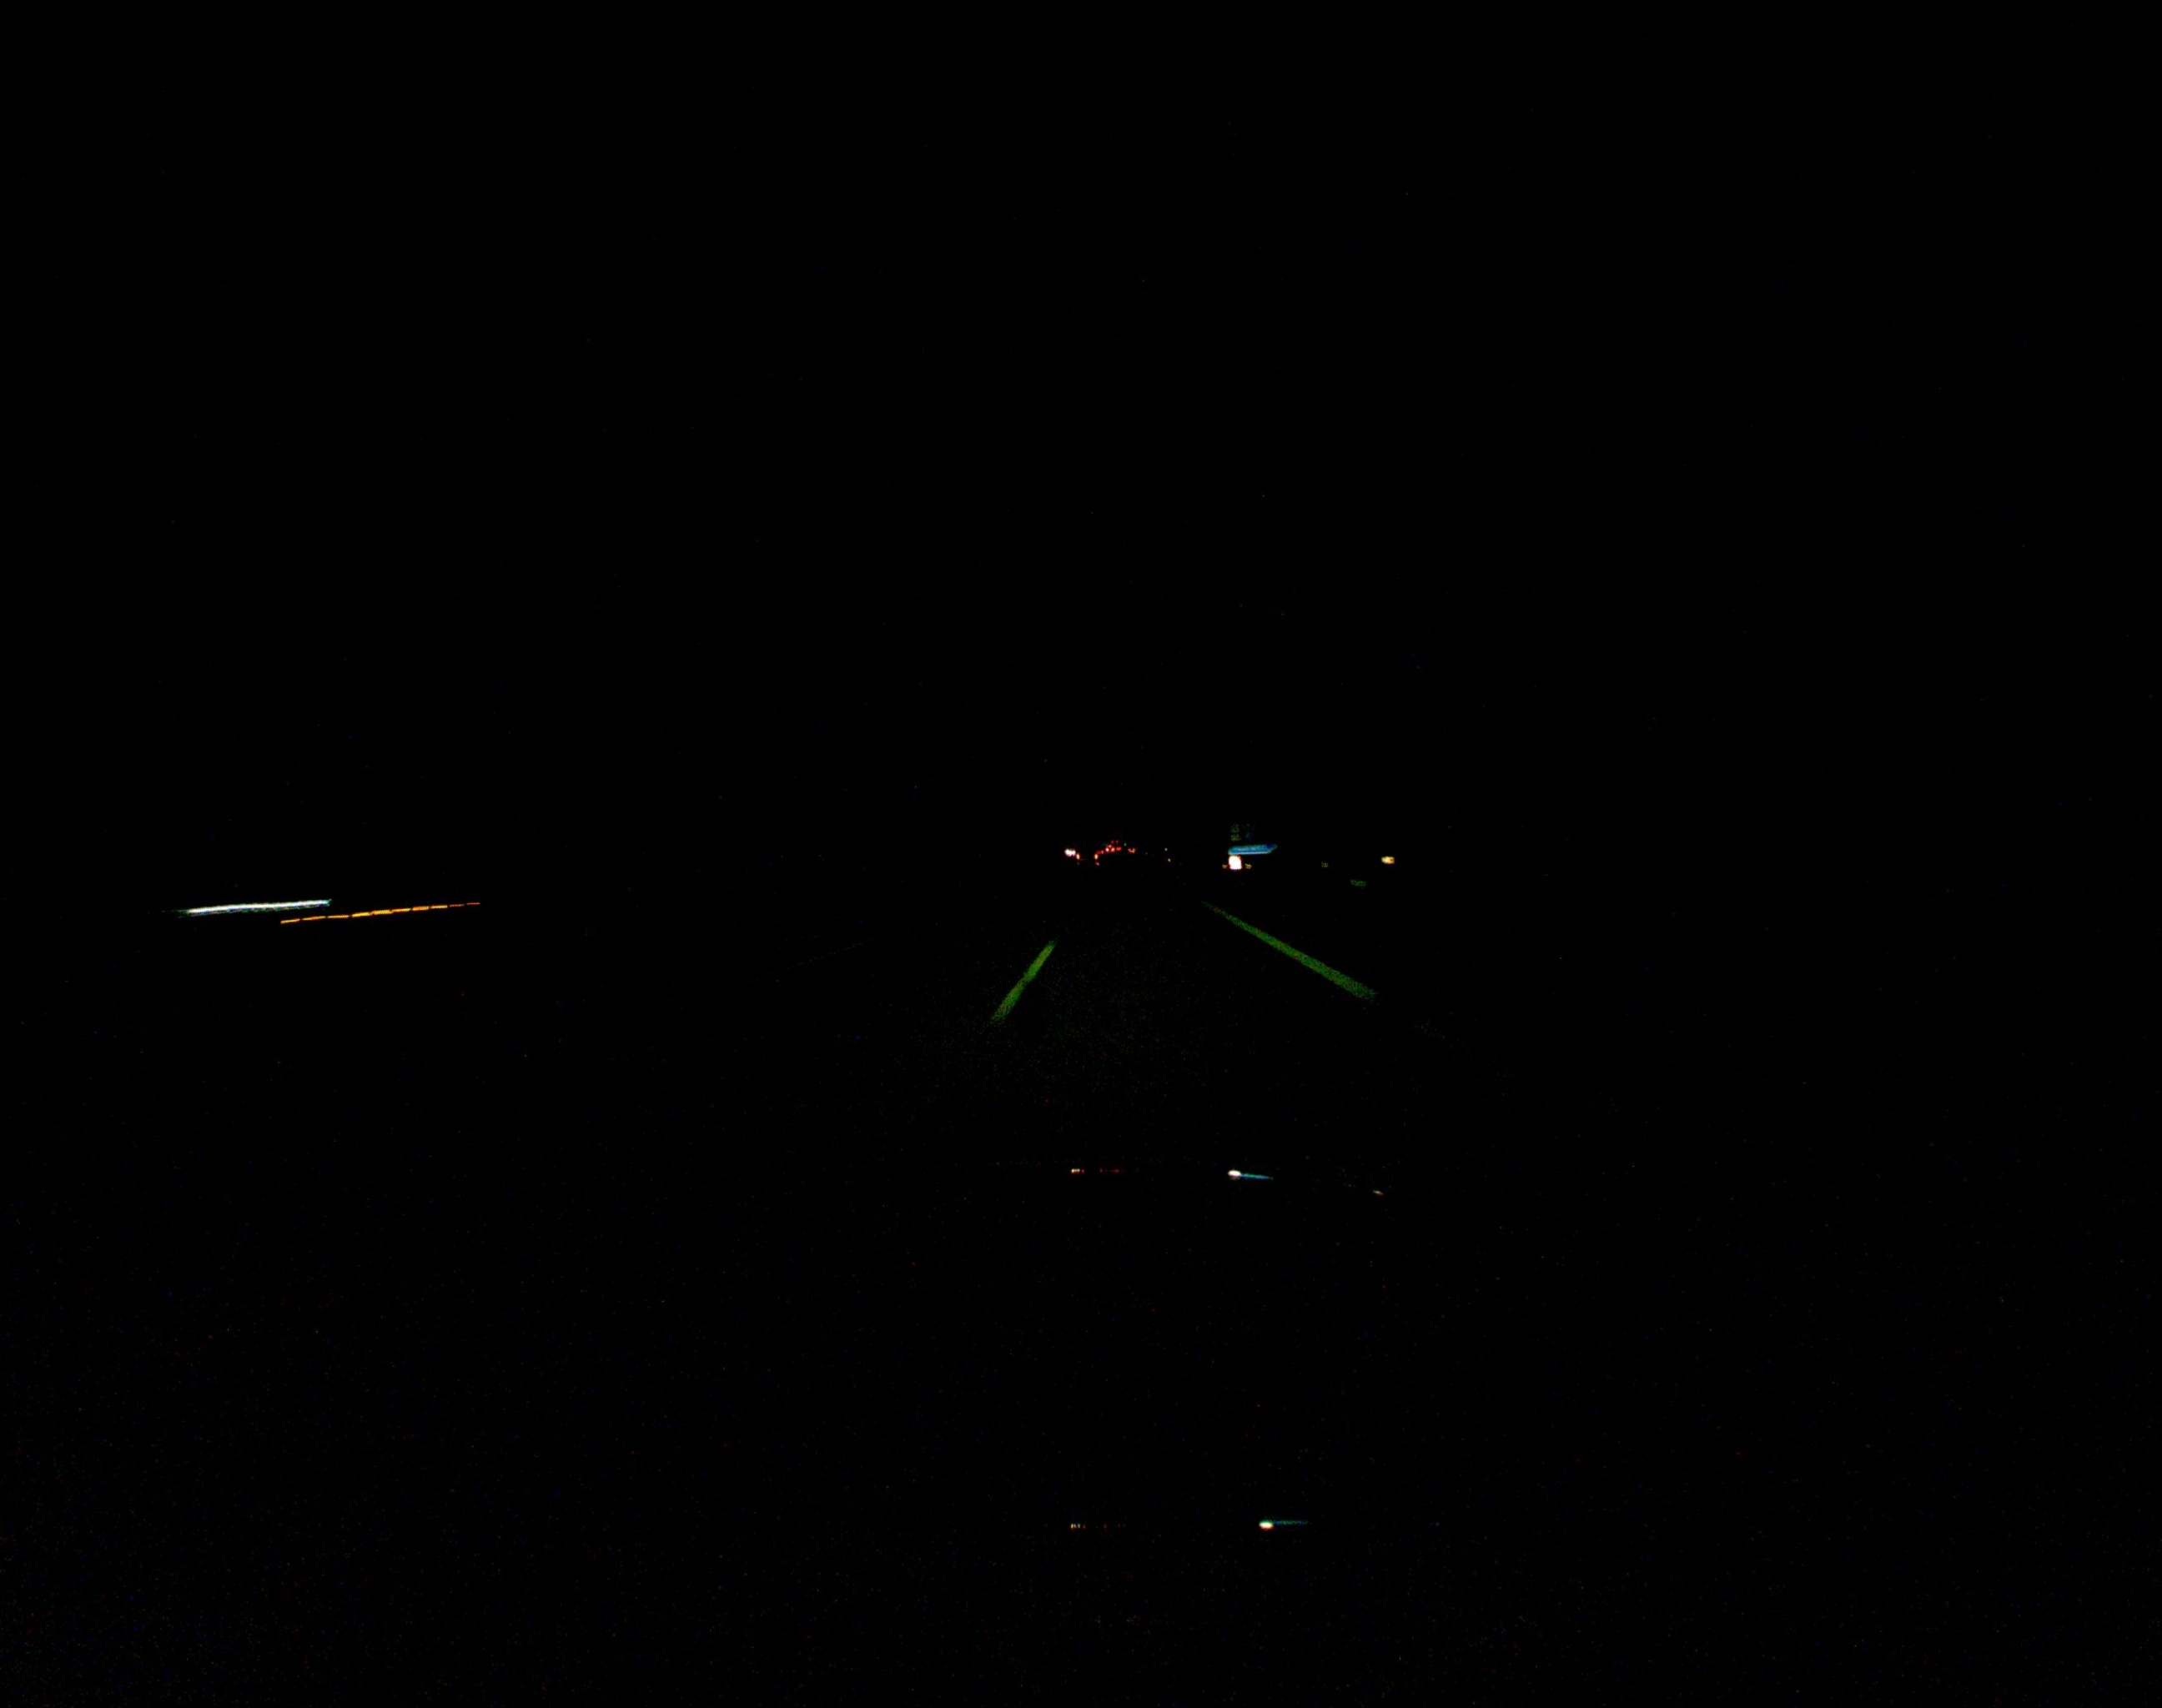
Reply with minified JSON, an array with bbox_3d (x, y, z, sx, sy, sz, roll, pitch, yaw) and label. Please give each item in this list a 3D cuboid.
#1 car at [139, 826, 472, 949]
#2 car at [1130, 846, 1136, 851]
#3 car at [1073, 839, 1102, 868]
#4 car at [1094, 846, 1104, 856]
[{"bbox_3d":[-21.178,0.767,22.953,2.835,2.937,6.607,0,1,3],"label":"car"},{"bbox_3d":[16.201,-1.722,254.833,1.836,1.640,4.002,-2,1,2],"label":"car"},{"bbox_3d":[0.724,-0.058,82.938,2.776,2.733,6.303,-1,0,2],"label":"car"},{"bbox_3d":[5.676,-0.964,256.296,2.777,2.733,6.299,-1,-1,1],"label":"car"}]
